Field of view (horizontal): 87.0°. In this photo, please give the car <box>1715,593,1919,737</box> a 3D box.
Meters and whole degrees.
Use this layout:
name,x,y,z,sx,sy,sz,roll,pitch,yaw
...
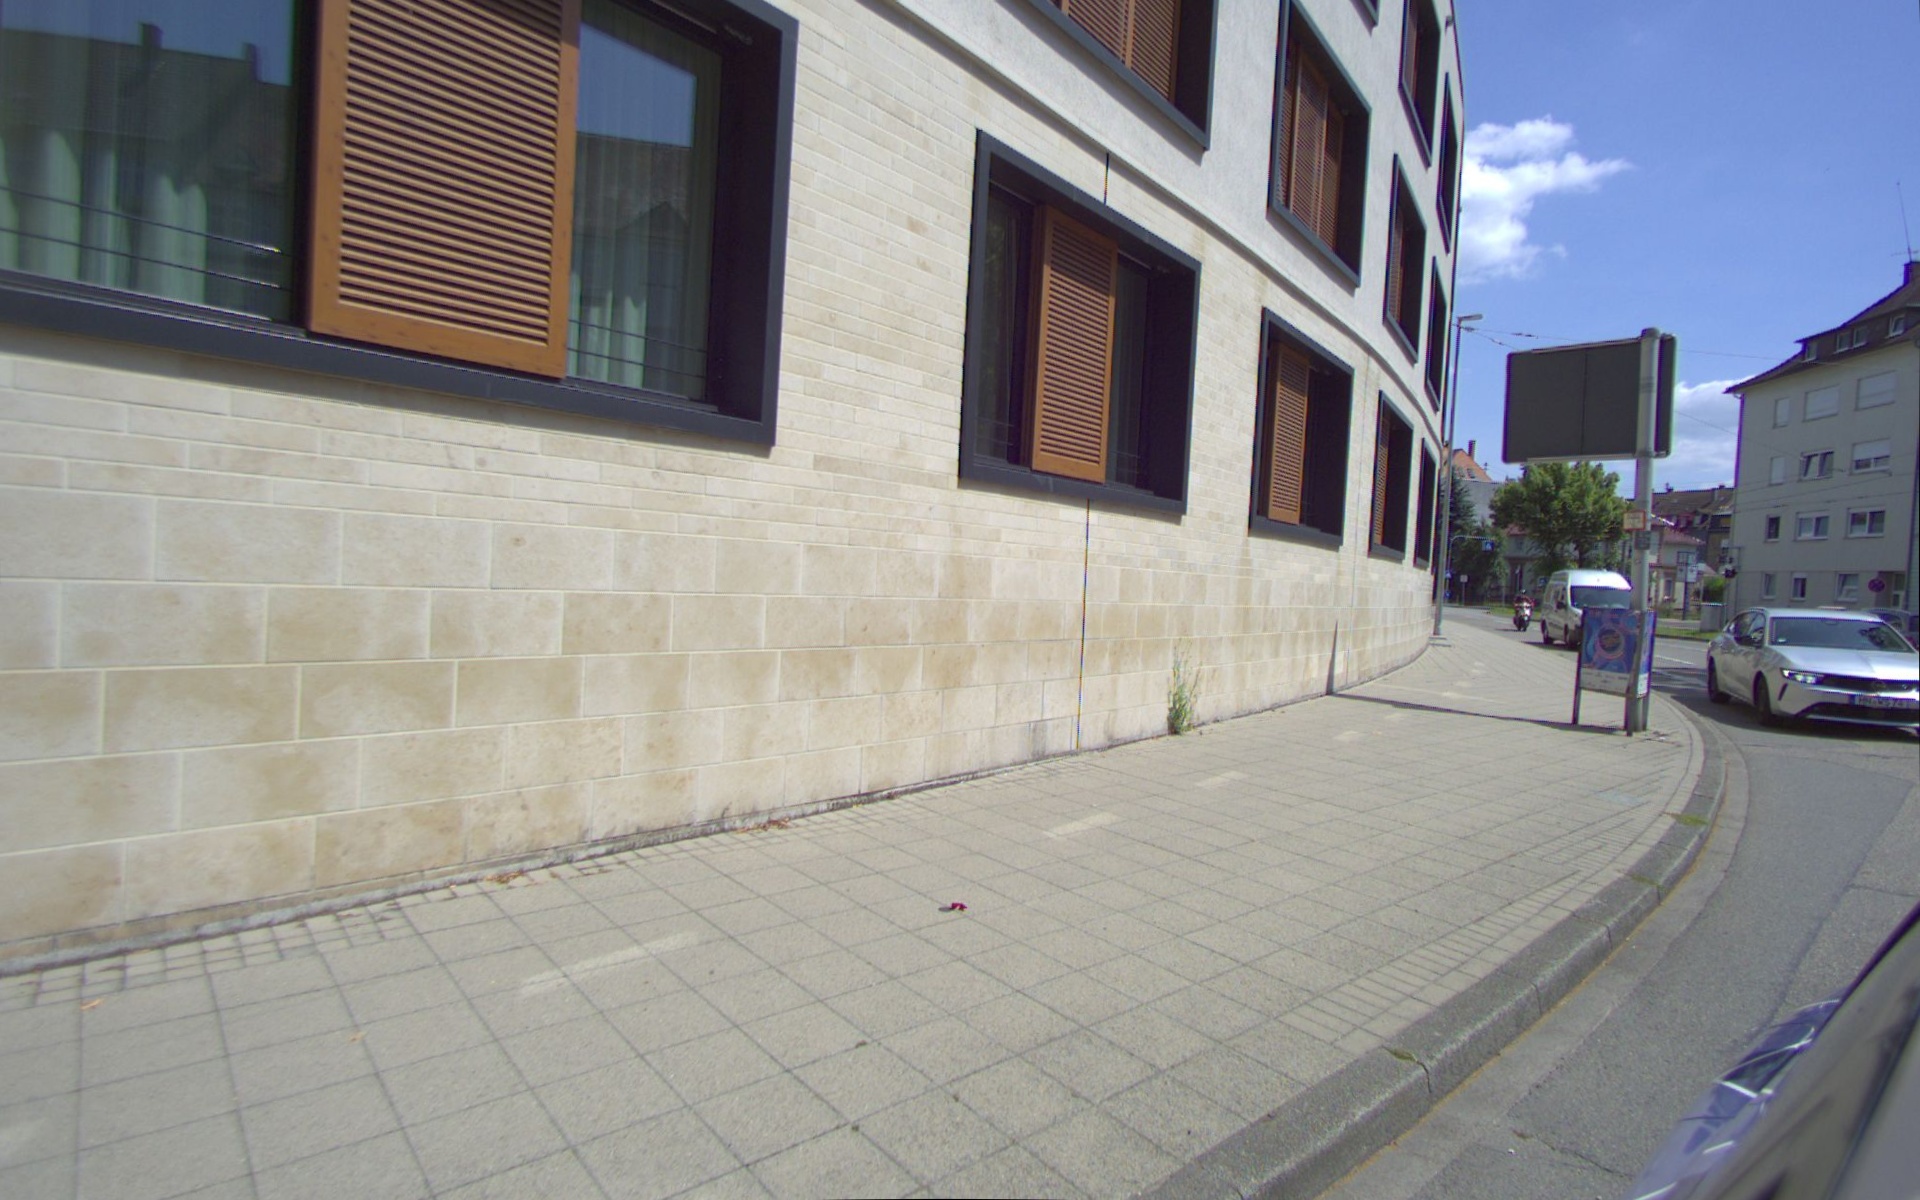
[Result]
name,x,y,z,sx,sy,sz,roll,pitch,yaw
car,11.320,0.715,13.099,1.786,1.484,4.131,3,2,28

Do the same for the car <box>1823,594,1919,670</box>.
name,x,y,z,sx,sy,sz,roll,pitch,yaw
car,21.240,0.691,22.565,1.724,1.506,4.373,3,2,23

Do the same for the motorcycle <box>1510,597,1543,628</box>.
name,x,y,z,sx,sy,sz,roll,pitch,yaw
motorcycle,21.811,0.457,38.980,1.048,1.093,2.590,2,1,29

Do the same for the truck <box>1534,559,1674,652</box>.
name,x,y,z,sx,sy,sz,roll,pitch,yaw
truck,17.995,0.048,28.590,1.996,2.276,5.376,3,3,19

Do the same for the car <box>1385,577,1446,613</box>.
name,x,y,z,sx,sy,sz,roll,pitch,yaw
car,24.421,-0.315,54.423,1.778,1.527,4.535,7,3,10

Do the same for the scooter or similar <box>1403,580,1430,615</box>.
name,x,y,z,sx,sy,sz,roll,pitch,yaw
scooter or similar,17.871,-0.101,39.680,0.575,1.275,1.362,6,3,12

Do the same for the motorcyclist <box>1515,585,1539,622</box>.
name,x,y,z,sx,sy,sz,roll,pitch,yaw
motorcyclist,21.630,0.136,38.634,0.729,1.353,1.159,2,1,29
